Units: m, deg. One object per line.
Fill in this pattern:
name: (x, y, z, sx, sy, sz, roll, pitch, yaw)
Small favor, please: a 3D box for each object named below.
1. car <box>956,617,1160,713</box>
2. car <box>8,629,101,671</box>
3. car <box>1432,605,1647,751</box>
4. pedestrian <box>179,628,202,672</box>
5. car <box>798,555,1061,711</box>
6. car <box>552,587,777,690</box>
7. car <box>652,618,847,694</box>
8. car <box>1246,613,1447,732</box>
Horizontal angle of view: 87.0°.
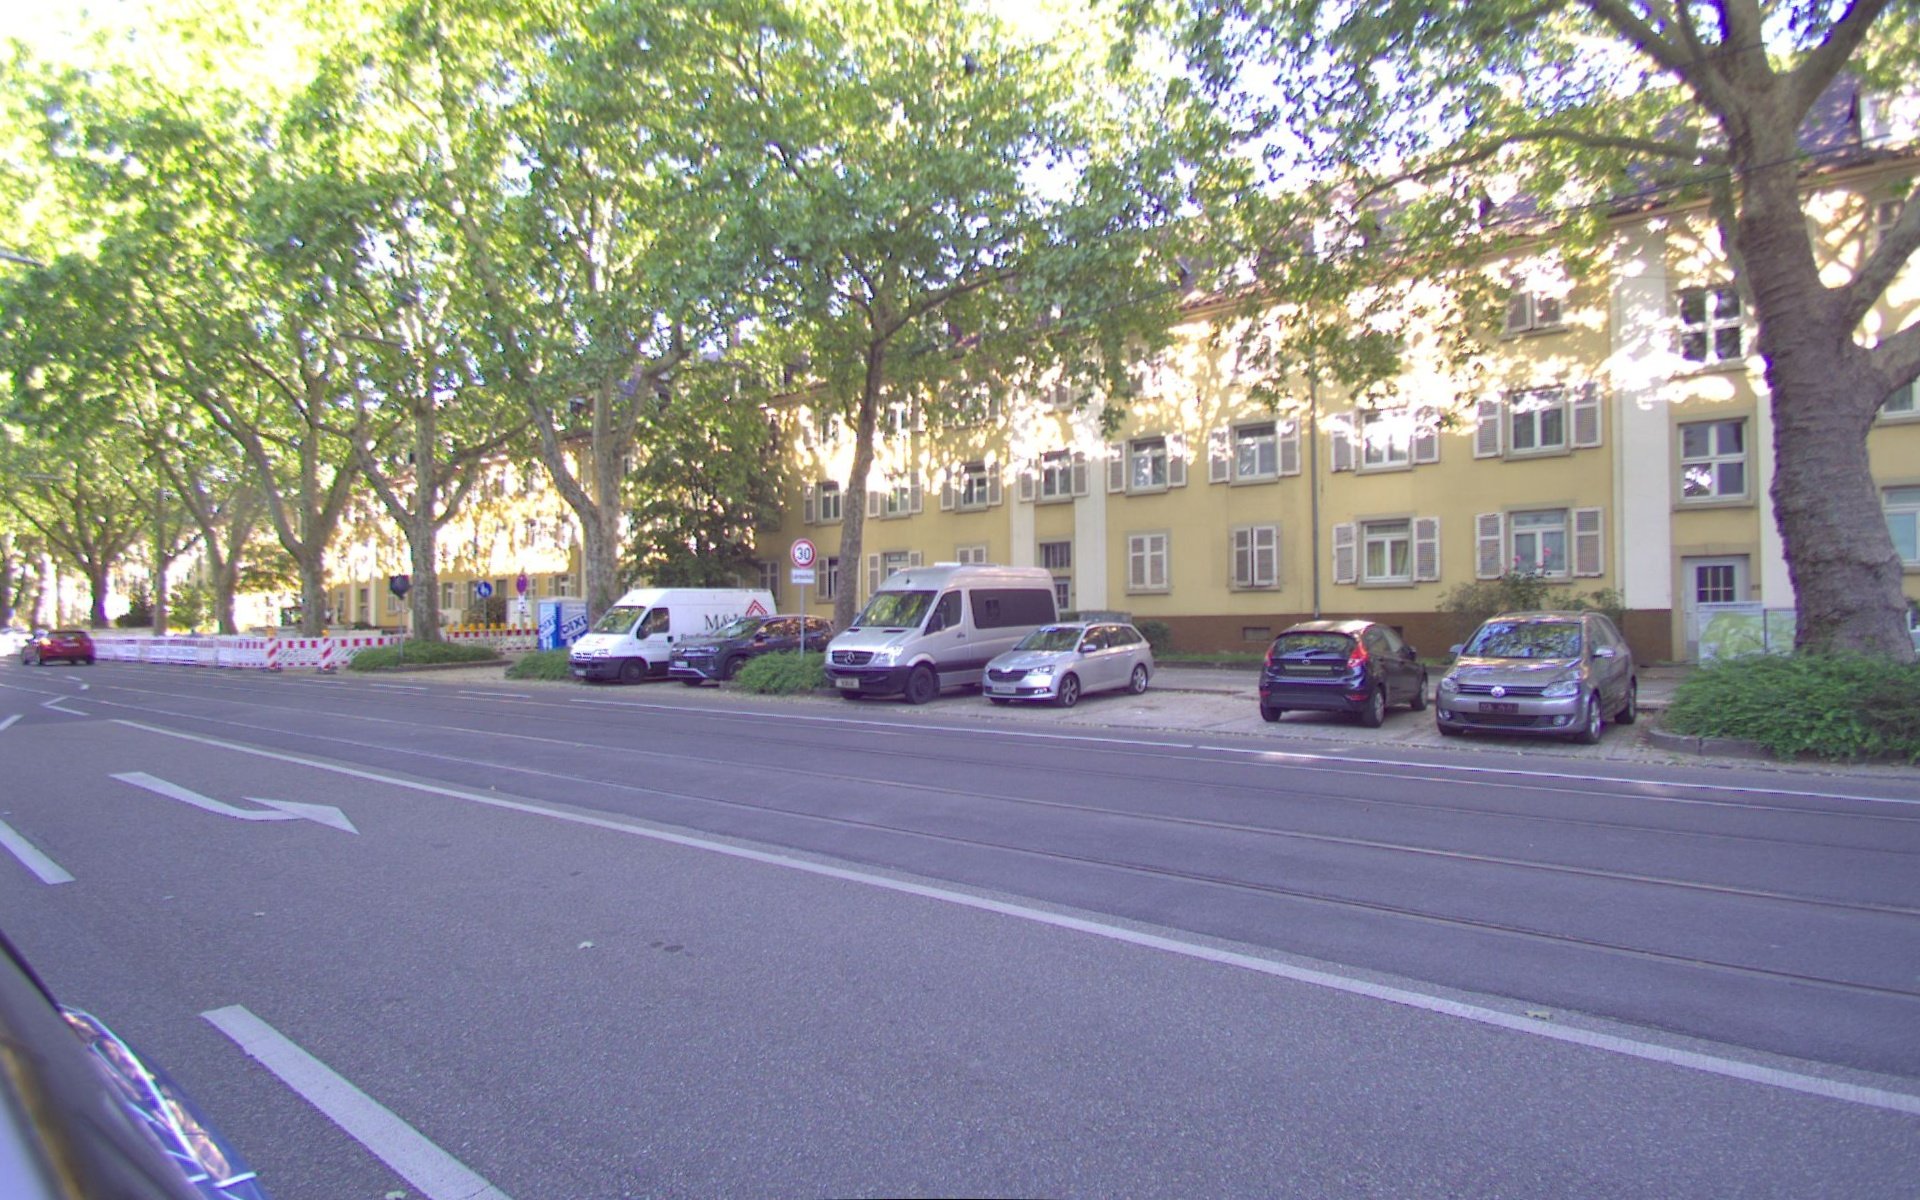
car: (1.920, 1.120, 18.834, 1.773, 1.509, 4.031, -2, -1, 41)
car: (-36.771, 2.008, 41.083, 4.484, 1.577, 1.997, -2, -2, 37)
car: (7.751, 0.897, 13.366, 1.672, 1.592, 3.928, -2, -1, 41)
pedestrian: (-31.479, 2.019, 41.397, 0.642, 1.759, 0.583, -1, 0, -44)
car: (-0.419, 0.608, 20.445, 2.221, 2.702, 5.596, -2, -1, 38)
car: (-7.553, 0.964, 26.372, 2.222, 2.394, 5.336, -2, -2, 40)
car: (-4.971, 1.276, 24.446, 1.772, 1.664, 4.570, -2, -2, 38)
car: (5.974, 1.000, 15.417, 1.671, 1.509, 3.756, -2, -1, 41)
